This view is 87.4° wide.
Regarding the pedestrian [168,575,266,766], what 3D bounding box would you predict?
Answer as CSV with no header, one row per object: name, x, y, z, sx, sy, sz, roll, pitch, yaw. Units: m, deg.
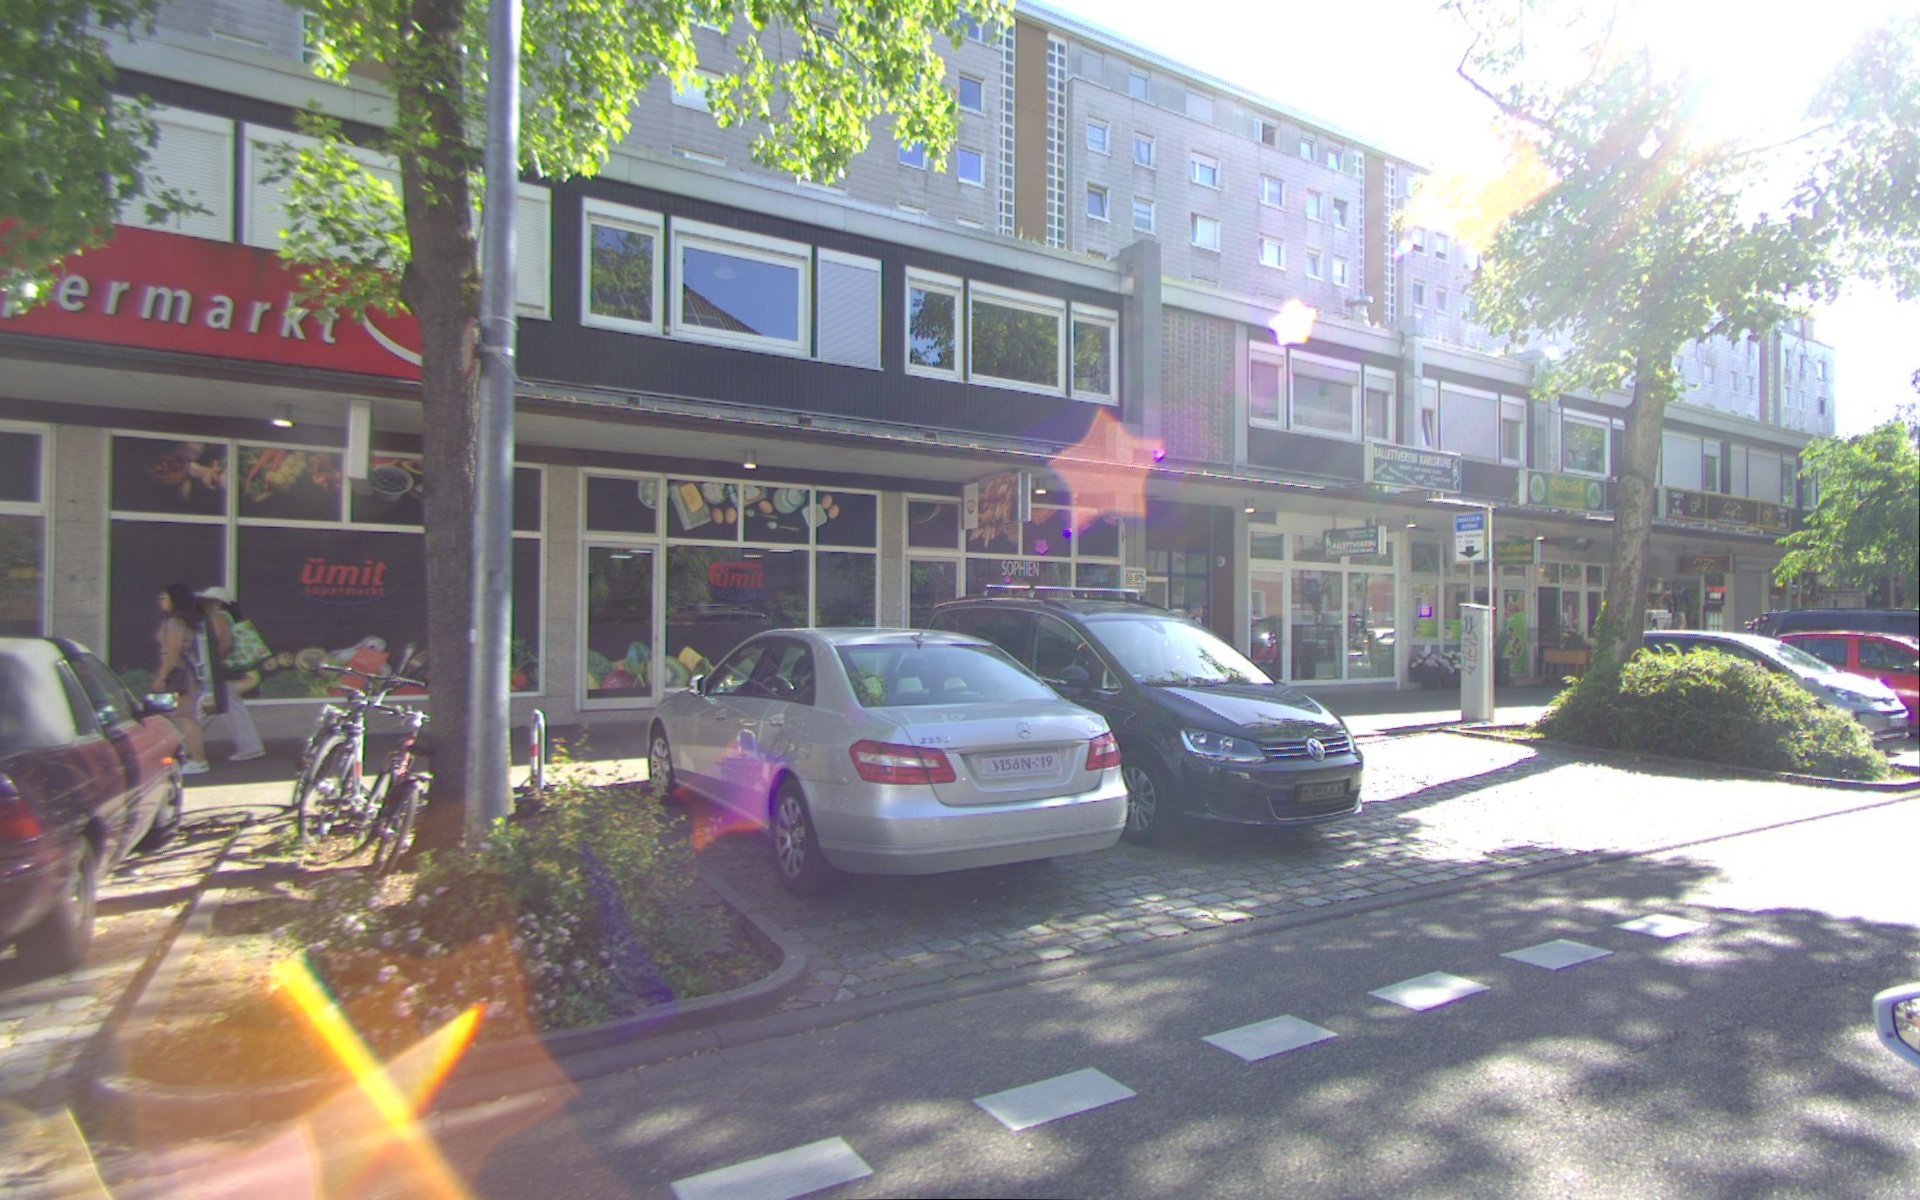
pedestrian,-6.801,0.626,9.229,0.626,1.673,0.627,1,-1,-30

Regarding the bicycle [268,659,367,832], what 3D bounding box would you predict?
bicycle,-4.535,0.978,7.141,0.448,1.082,1.204,1,-2,-27

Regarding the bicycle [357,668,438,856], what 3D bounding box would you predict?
bicycle,-3.714,1.019,6.678,0.393,1.082,1.149,1,-2,-26

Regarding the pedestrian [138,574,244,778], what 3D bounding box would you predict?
pedestrian,-6.588,0.632,8.635,0.626,1.673,0.527,1,-1,-30

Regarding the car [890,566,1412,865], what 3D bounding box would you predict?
car,1.247,0.733,8.610,1.816,1.828,4.603,1,-1,-31

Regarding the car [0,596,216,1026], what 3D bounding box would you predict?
car,-5.050,0.757,5.021,1.697,1.514,4.009,1,0,-31

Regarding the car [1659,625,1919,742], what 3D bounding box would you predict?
car,13.974,1.251,15.844,1.642,1.632,4.603,1,-1,-31

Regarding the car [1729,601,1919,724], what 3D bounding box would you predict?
car,16.302,1.040,16.860,1.642,2.007,5.186,1,-1,-31

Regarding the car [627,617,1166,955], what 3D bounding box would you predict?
car,-0.841,0.908,7.093,1.808,1.513,4.630,1,-1,-32
